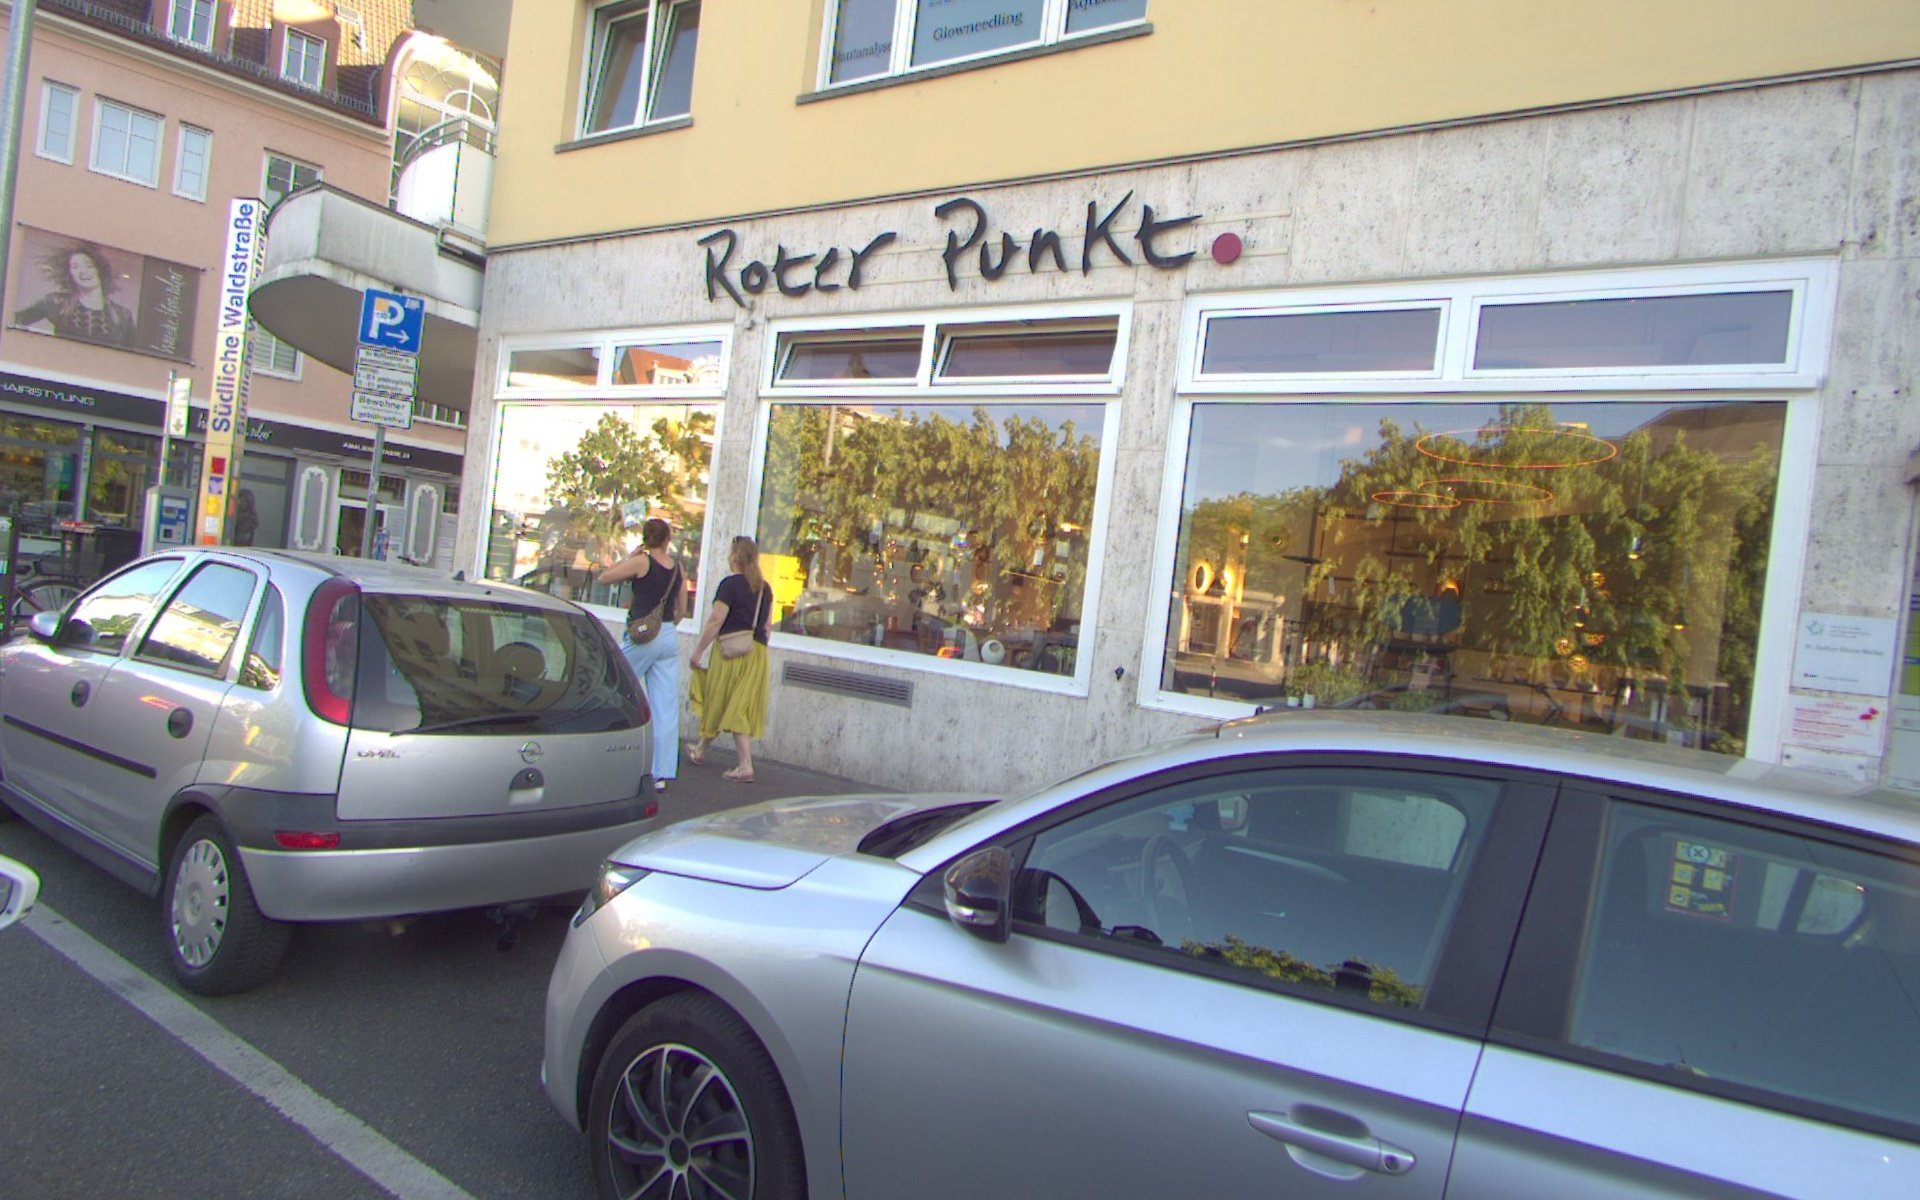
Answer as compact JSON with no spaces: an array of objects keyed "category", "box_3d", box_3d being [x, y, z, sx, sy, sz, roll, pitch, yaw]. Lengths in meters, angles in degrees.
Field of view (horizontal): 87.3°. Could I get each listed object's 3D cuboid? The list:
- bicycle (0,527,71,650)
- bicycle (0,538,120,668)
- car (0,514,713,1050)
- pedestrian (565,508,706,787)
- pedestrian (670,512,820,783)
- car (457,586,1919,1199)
[{"category":"bicycle","box_3d":[-9.095,-0.147,8.808,0.408,1.101,1.872,6,1,35]},{"category":"bicycle","box_3d":[-8.120,0.000,8.204,0.348,1.051,1.871,6,1,38]},{"category":"car","box_3d":[-2.939,0.495,4.439,3.420,1.407,1.548,6,-1,33]},{"category":"pedestrian","box_3d":[-2.121,0.308,6.601,0.649,1.685,0.645,7,0,-18]},{"category":"pedestrian","box_3d":[-1.540,0.340,7.297,0.557,1.805,0.743,7,0,18]},{"category":"car","box_3d":[0.752,0.922,2.271,3.598,1.444,1.550,6,-2,30]}]
